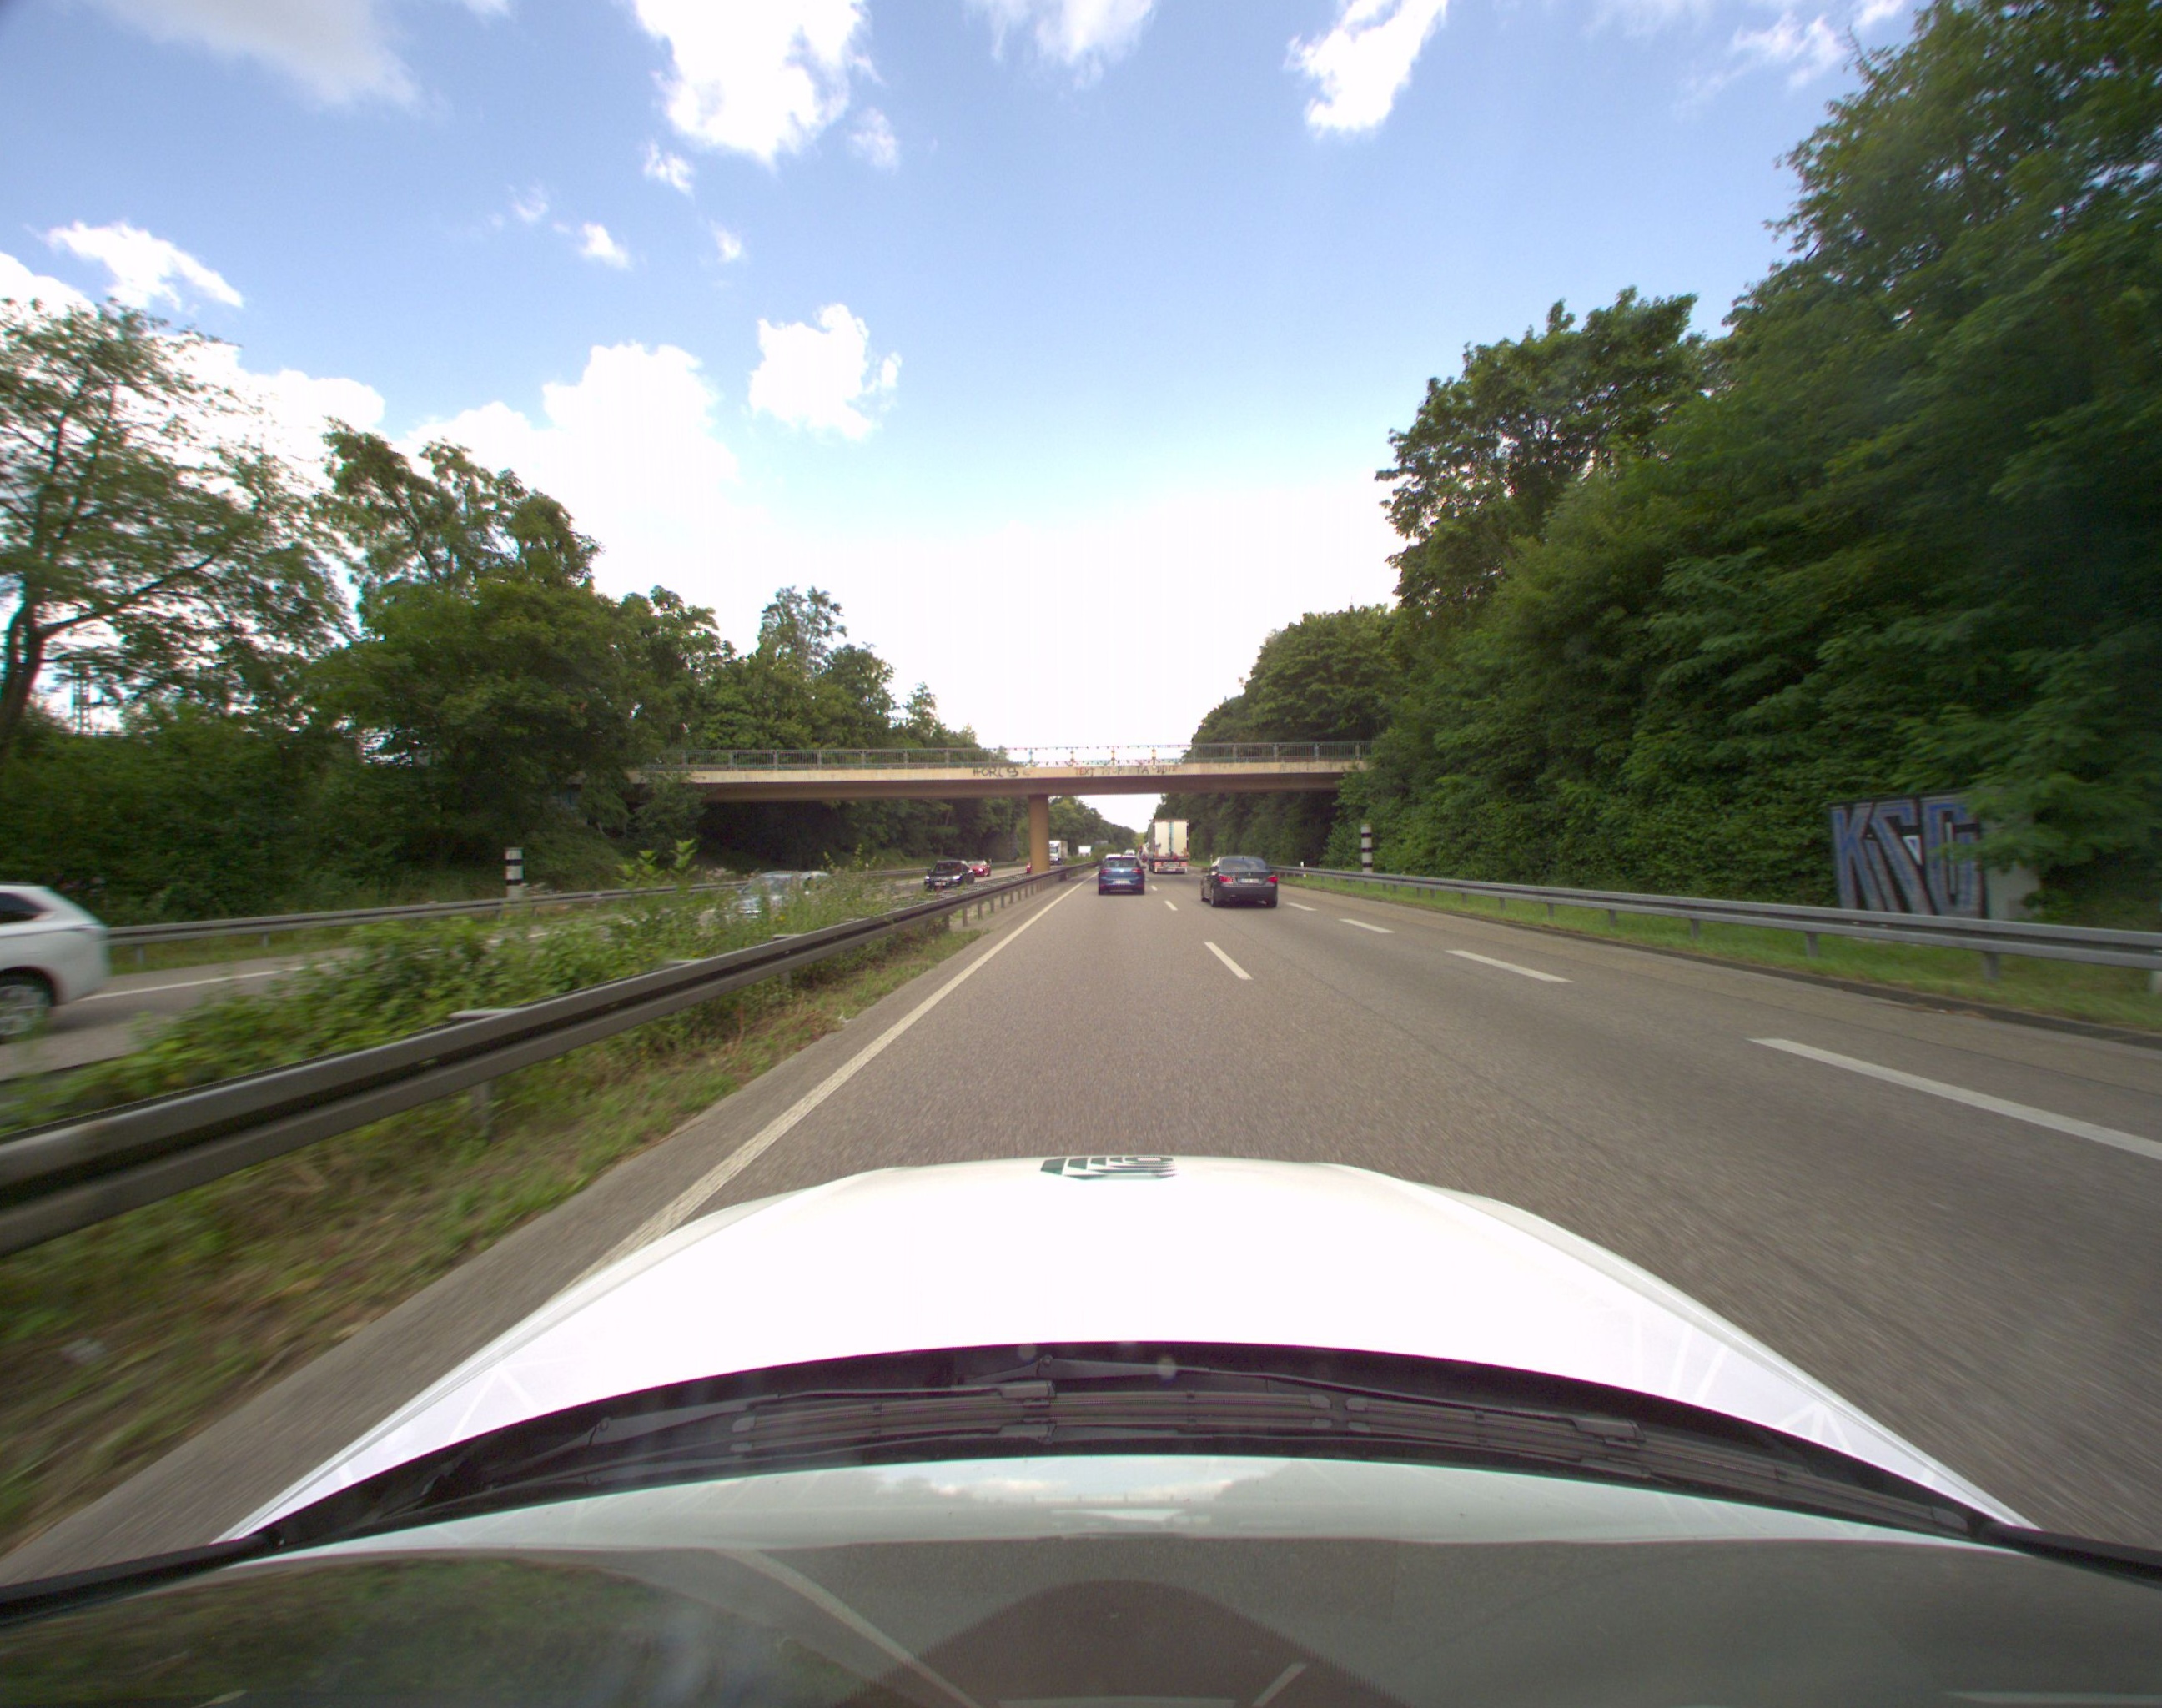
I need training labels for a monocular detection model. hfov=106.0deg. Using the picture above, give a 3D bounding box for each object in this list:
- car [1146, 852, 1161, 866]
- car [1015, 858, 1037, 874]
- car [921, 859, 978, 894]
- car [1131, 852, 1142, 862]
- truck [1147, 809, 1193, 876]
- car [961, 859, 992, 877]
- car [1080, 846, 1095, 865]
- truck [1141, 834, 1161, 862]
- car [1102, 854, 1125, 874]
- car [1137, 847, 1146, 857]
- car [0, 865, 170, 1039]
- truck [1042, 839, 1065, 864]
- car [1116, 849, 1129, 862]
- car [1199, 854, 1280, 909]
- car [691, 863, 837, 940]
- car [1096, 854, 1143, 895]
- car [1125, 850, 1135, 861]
[{"bbox_3d":[9.772,0.647,109.962,1.880,1.729,4.004,-1,0,4],"label":"car"},{"bbox_3d":[-5.330,1.160,79.278,1.679,1.476,4.439,-2,0,2],"label":"car"},{"bbox_3d":[-6.426,1.066,40.273,1.858,1.589,4.567,-2,0,2],"label":"car"},{"bbox_3d":[10.584,0.617,155.645,1.944,1.855,4.006,-2,0,5],"label":"car"},{"bbox_3d":[6.869,-0.827,64.269,3.227,4.716,11.020,-1,0,4],"label":"truck"},{"bbox_3d":[-8.767,1.158,68.730,1.857,1.378,4.808,-2,0,2],"label":"car"},{"bbox_3d":[1.266,0.246,145.301,2.279,3.232,7.292,-2,0,3],"label":"car"},{"bbox_3d":[11.720,-0.855,137.419,3.217,4.386,12.985,0,-1,4],"label":"truck"},{"bbox_3d":[2.644,0.785,65.280,1.658,1.500,4.156,0,0,4],"label":"car"},{"bbox_3d":[15.118,-0.482,202.533,1.986,2.327,4.443,-1,0,1],"label":"car"},{"bbox_3d":[-11.813,1.019,7.262,1.779,1.738,4.882,-2,0,1],"label":"car"},{"bbox_3d":[-4.431,-0.407,132.831,3.026,3.986,6.756,-1,0,4],"label":"truck"},{"bbox_3d":[6.798,0.250,132.541,1.944,2.013,4.006,-2,0,6],"label":"car"},{"bbox_3d":[4.597,0.747,24.292,1.767,1.475,4.885,0,0,3],"label":"car"},{"bbox_3d":[-7.633,1.076,20.074,1.814,1.587,4.140,-2,0,2],"label":"car"},{"bbox_3d":[1.524,0.742,31.452,1.698,1.470,4.003,0,0,3],"label":"car"},{"bbox_3d":[10.569,0.338,177.531,1.986,2.255,4.443,-1,0,1],"label":"car"}]
